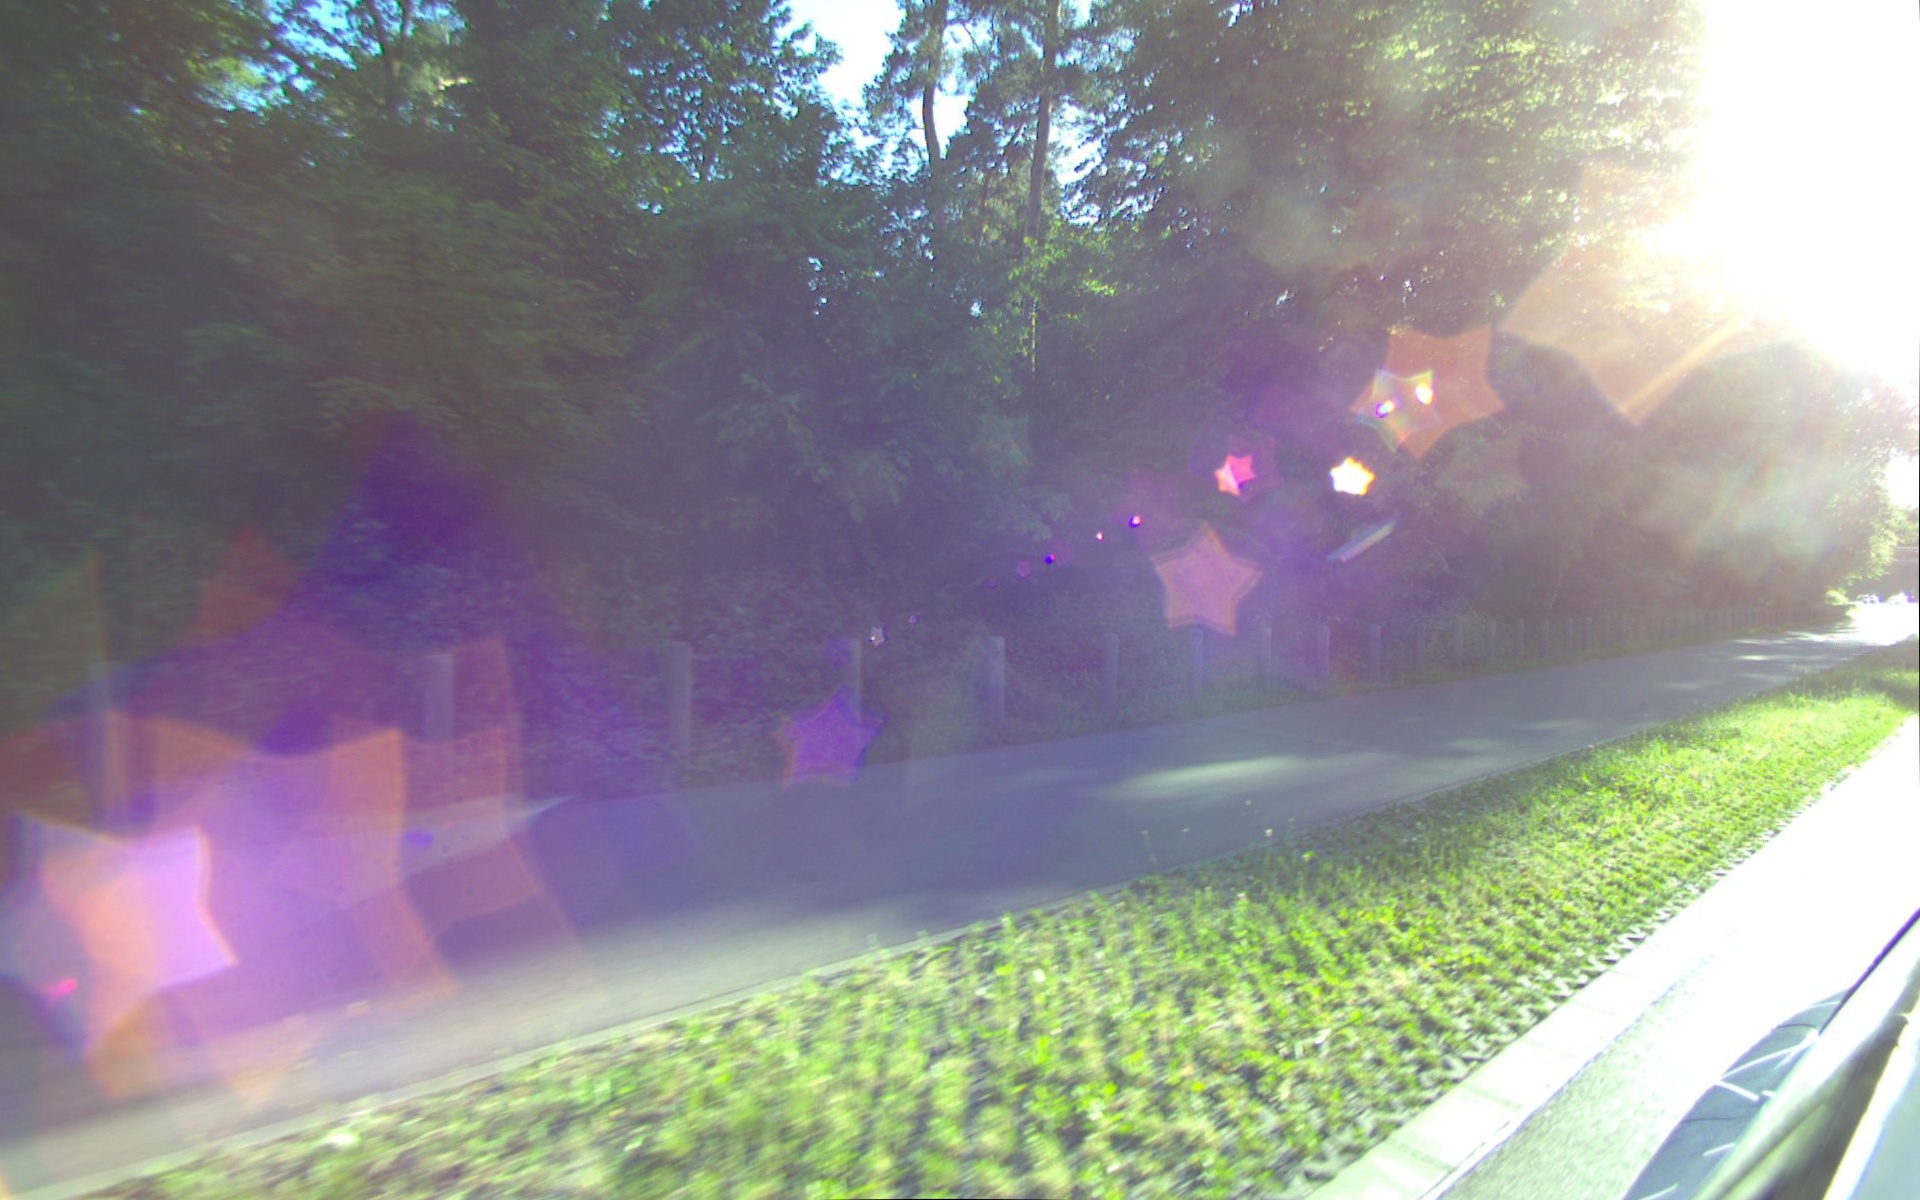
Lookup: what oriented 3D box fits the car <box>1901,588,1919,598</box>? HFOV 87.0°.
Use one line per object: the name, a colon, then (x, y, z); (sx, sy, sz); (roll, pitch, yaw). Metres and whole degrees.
car: (159.603, -1.205, 169.996); (1.817, 1.705, 3.948); (2, 1, 36)
